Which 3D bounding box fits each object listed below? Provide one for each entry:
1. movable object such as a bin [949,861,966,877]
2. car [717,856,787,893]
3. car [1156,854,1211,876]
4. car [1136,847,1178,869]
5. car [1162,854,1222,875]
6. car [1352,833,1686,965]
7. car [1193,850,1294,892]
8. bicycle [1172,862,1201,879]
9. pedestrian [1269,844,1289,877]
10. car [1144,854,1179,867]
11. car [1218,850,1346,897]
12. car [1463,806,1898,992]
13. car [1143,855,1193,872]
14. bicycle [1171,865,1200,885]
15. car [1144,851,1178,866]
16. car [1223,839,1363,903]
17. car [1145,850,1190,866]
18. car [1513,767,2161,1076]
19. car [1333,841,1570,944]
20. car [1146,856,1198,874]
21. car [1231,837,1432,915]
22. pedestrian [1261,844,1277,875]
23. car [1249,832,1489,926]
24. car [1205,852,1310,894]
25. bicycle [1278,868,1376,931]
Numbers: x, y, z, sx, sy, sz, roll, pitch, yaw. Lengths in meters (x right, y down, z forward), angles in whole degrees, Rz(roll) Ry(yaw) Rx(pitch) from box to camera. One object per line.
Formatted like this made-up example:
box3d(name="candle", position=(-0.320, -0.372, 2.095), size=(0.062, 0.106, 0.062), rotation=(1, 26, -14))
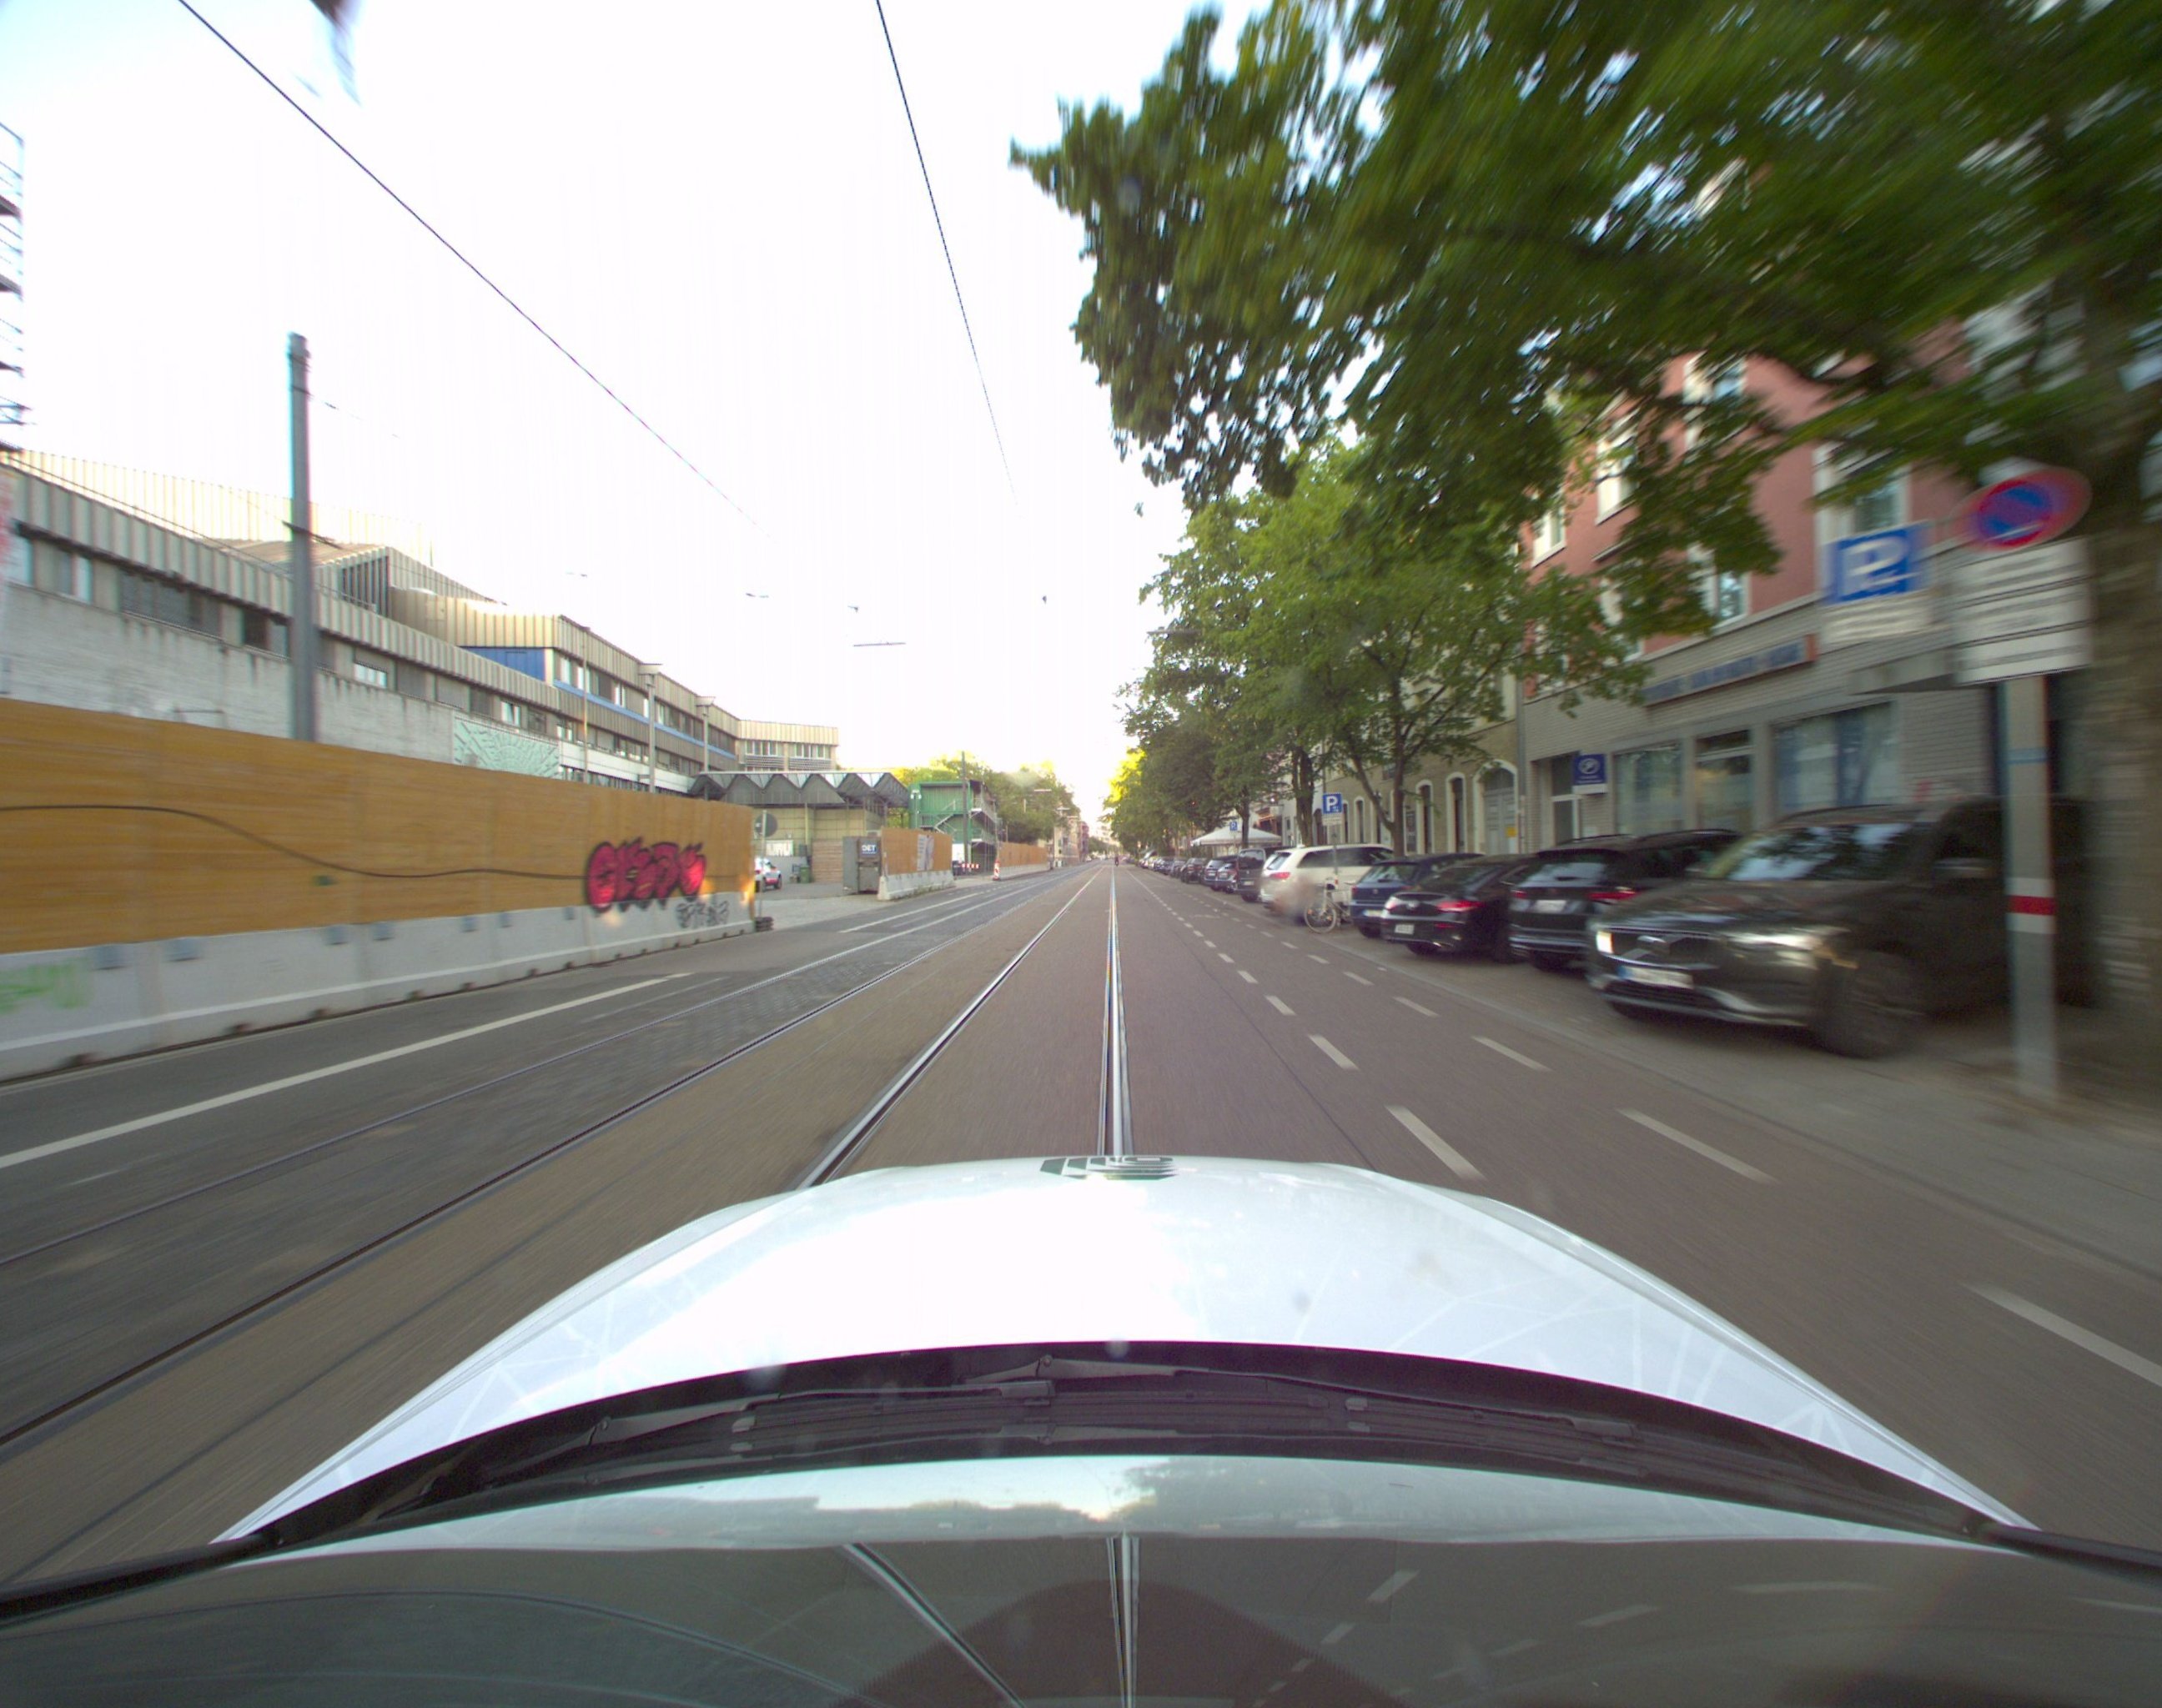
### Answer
box3d(name="movable object such as a bin", position=(-10.915, 1.327, 71.980), size=(1.302, 1.369, 0.784), rotation=(-1, -1, -2))
box3d(name="car", position=(-15.907, 0.951, 39.583), size=(1.991, 1.664, 4.271), rotation=(-1, 0, -5))
box3d(name="car", position=(8.576, 0.929, 68.115), size=(4.124, 1.470, 1.814), rotation=(-4, 0, -16))
box3d(name="car", position=(10.036, 0.495, 107.681), size=(5.104, 2.642, 2.011), rotation=(-3, -1, -15))
box3d(name="car", position=(8.597, 0.802, 63.084), size=(4.172, 1.426, 1.813), rotation=(-1, 0, -17))
box3d(name="car", position=(6.377, 0.574, 11.934), size=(4.227, 1.426, 1.962), rotation=(-4, 0, -20))
box3d(name="car", position=(6.984, 0.705, 35.013), size=(3.979, 1.553, 1.692), rotation=(-3, -1, -24))
box3d(name="bicycle", position=(7.273, 1.137, 56.330), size=(1.897, 1.031, 0.533), rotation=(-4, -1, 0))
box3d(name="pedestrian", position=(10.721, 0.333, 44.161), size=(0.705, 1.763, 0.709), rotation=(-1, -1, -26))
box3d(name="car", position=(10.178, 0.835, 103.105), size=(3.966, 1.486, 1.906), rotation=(-3, -1, -22))
box3d(name="car", position=(7.418, 0.685, 30.073), size=(4.330, 1.389, 1.792), rotation=(-4, 0, -24))
box3d(name="car", position=(7.054, 0.437, 9.712), size=(4.222, 1.649, 1.965), rotation=(-4, 0, -16))
box3d(name="car", position=(8.234, 0.907, 77.466), size=(4.267, 1.392, 2.001), rotation=(-3, -1, -22))
box3d(name="bicycle", position=(6.334, 1.278, 49.421), size=(1.673, 1.031, 0.557), rotation=(-4, -1, 0))
box3d(name="car", position=(9.740, 0.565, 99.166), size=(3.935, 1.620, 1.922), rotation=(-3, -1, 2))
box3d(name="car", position=(7.046, 0.533, 27.056), size=(4.170, 1.806, 1.990), rotation=(-3, -1, -27))
box3d(name="car", position=(9.115, 0.425, 85.741), size=(4.249, 1.549, 2.013), rotation=(-3, -1, -9))
box3d(name="car", position=(6.641, 0.366, 7.010), size=(4.975, 1.826, 2.196), rotation=(-4, 0, -16))
box3d(name="car", position=(6.639, 0.632, 14.608), size=(3.763, 1.426, 1.714), rotation=(-4, 0, -23))
box3d(name="car", position=(8.152, 1.006, 73.069), size=(4.133, 1.470, 2.000), rotation=(-1, 0, -23))
box3d(name="car", position=(6.586, 0.560, 21.748), size=(4.639, 1.688, 2.005), rotation=(-4, 0, -4))
box3d(name="pedestrian", position=(10.685, 0.320, 46.314), size=(0.551, 1.763, 0.850), rotation=(-1, 0, -10))
box3d(name="car", position=(6.338, 0.526, 18.328), size=(4.632, 1.688, 2.008), rotation=(-4, 0, 1))
box3d(name="car", position=(7.047, 0.735, 32.501), size=(3.789, 1.408, 1.692), rotation=(-3, 0, -24))
box3d(name="bicycle", position=(4.973, 0.903, 16.472), size=(1.837, 1.102, 0.496), rotation=(-4, 0, -12))
